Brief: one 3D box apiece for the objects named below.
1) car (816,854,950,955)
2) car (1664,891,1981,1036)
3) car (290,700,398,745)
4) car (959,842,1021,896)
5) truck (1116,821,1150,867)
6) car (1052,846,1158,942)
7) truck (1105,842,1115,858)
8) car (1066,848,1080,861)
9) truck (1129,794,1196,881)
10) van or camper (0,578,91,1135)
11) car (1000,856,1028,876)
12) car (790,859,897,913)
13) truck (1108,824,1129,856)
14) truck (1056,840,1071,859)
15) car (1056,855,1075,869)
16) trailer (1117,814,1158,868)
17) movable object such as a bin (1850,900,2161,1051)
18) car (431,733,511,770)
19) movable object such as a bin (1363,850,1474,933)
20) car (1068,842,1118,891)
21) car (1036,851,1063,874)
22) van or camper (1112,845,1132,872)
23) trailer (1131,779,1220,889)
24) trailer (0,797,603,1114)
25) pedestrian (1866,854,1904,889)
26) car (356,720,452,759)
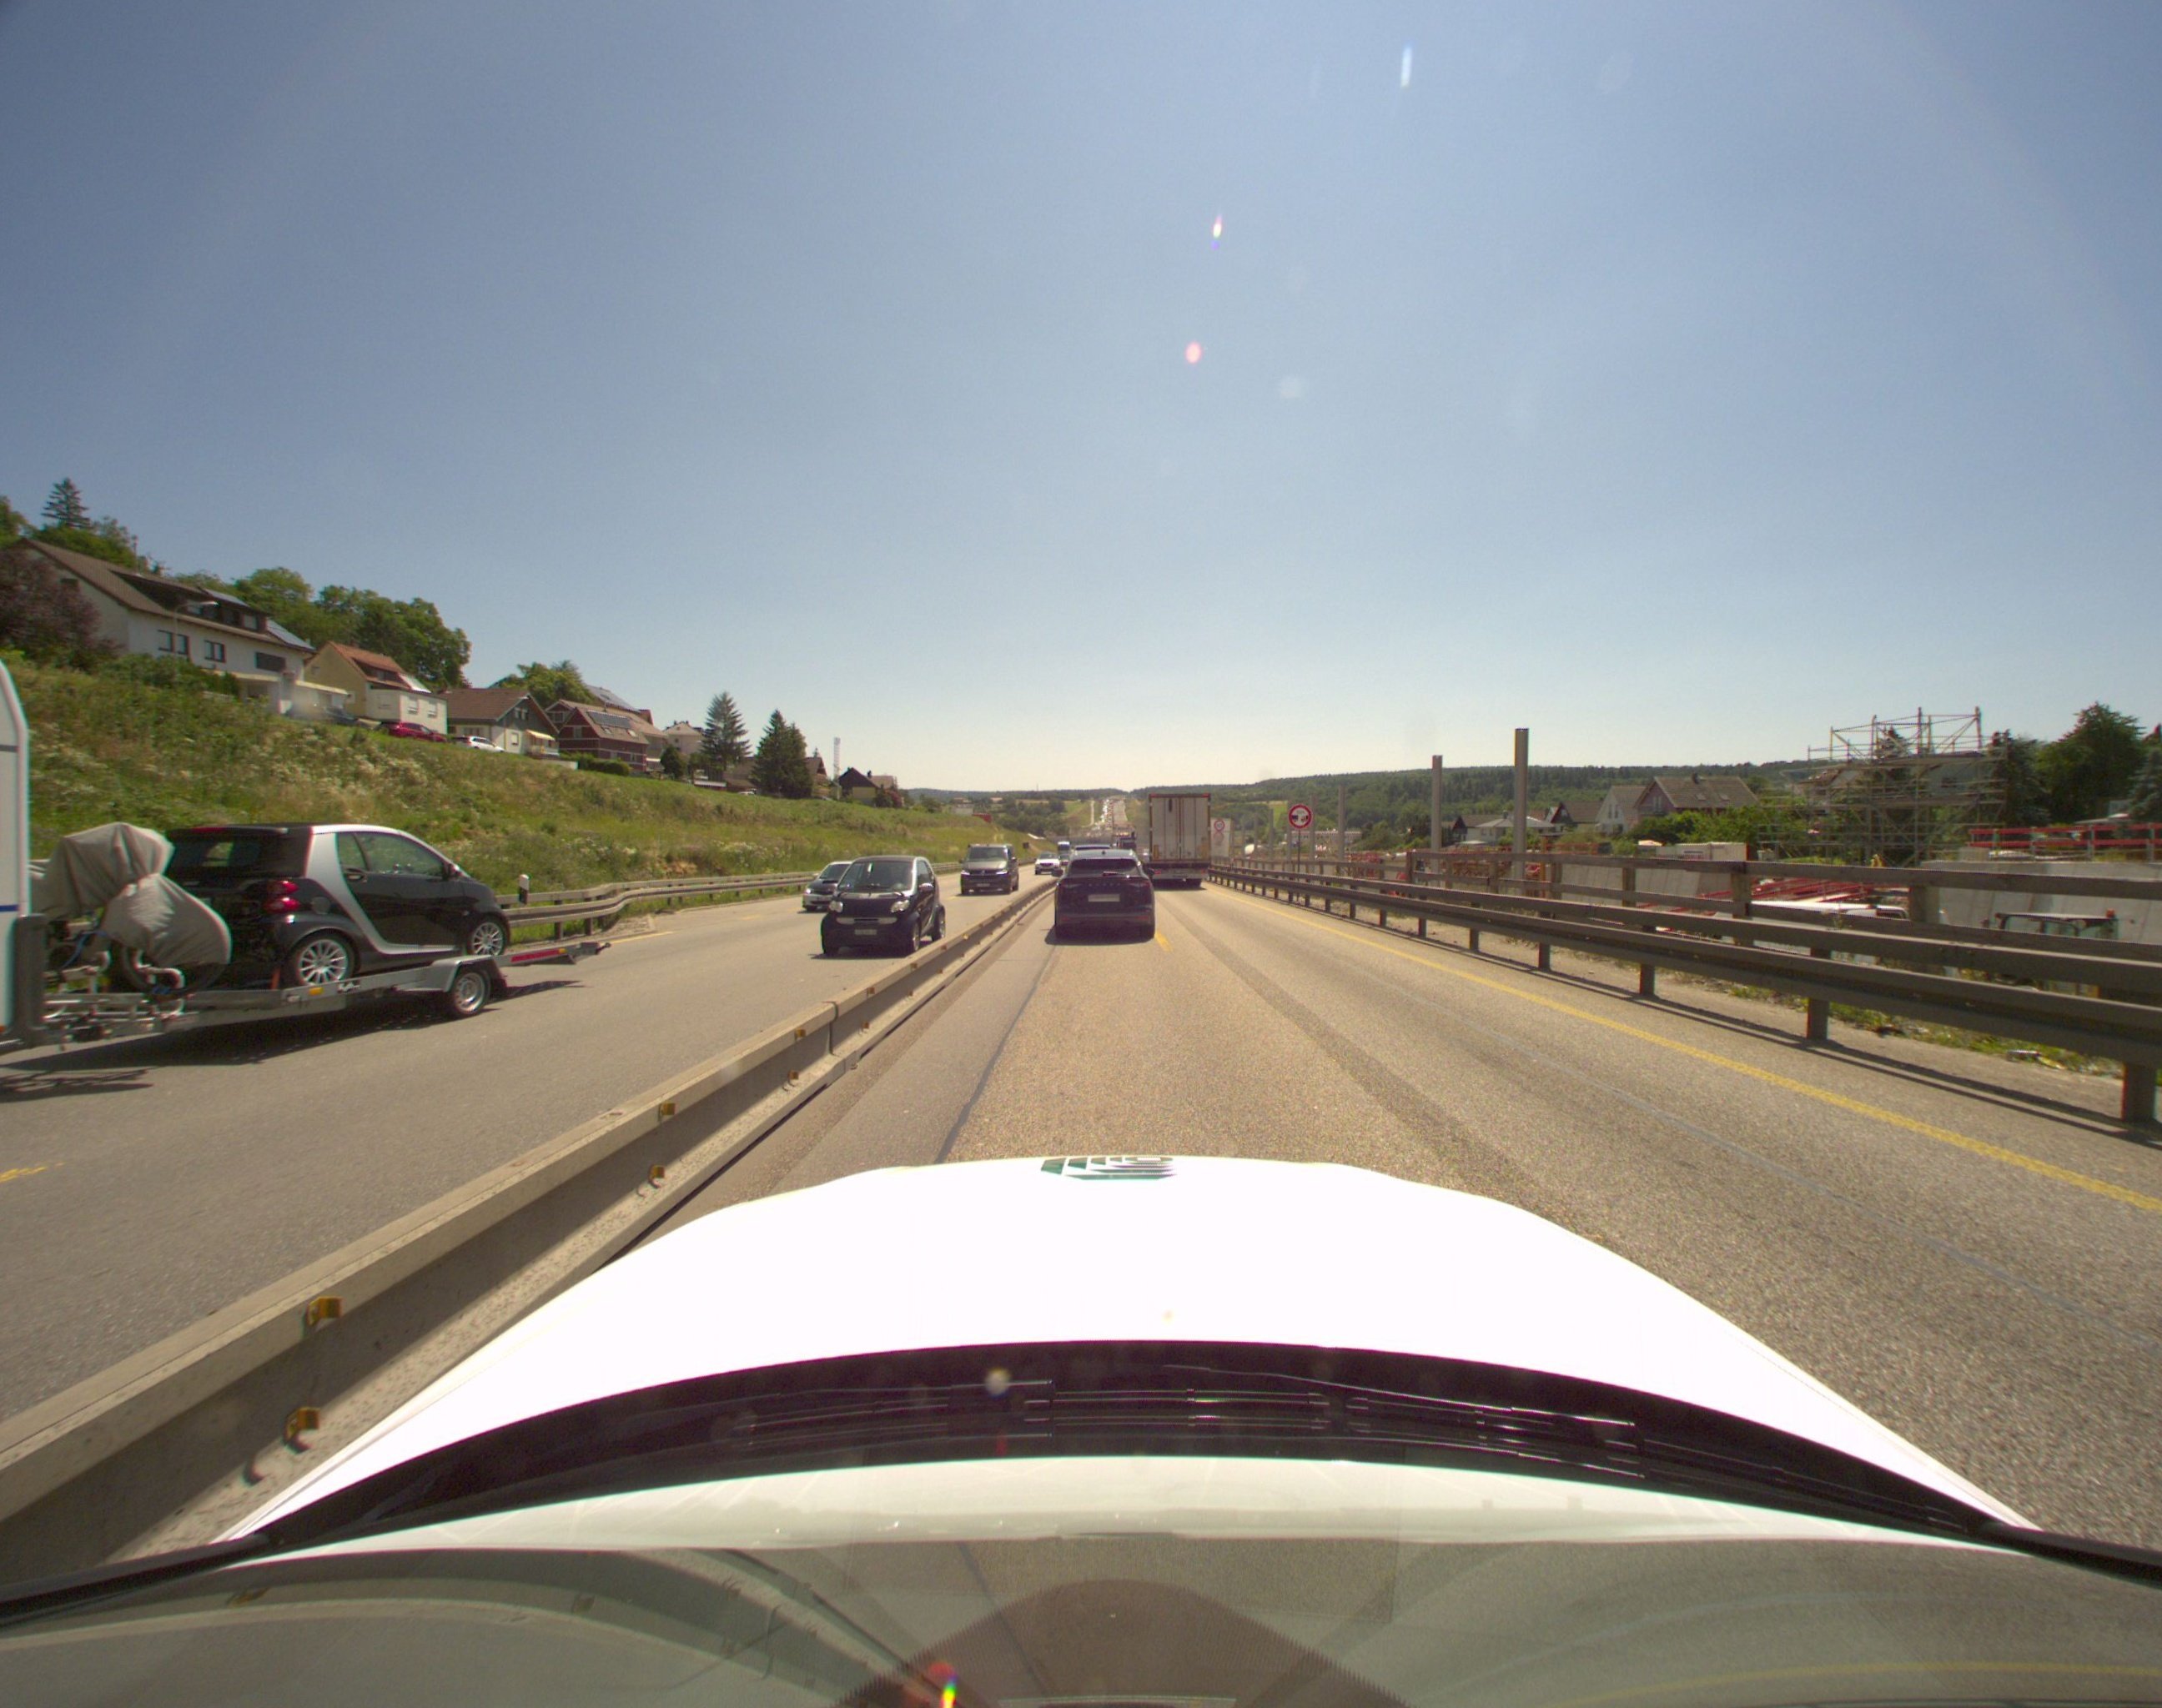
[{"bbox_3d":[-3.211,0.761,13.661,1.478,1.505,2.806,-1,0,1],"label":"car"},{"bbox_3d":[18.228,2.492,20.795,2.134,2.856,7.032,-1,-1,5],"label":"car"},{"bbox_3d":[-42.939,-7.634,47.628,2.175,1.794,4.754,-1,-1,-5],"label":"car"},{"bbox_3d":[-3.571,0.563,32.873,1.904,2.013,4.905,-1,0,0],"label":"car"},{"bbox_3d":[5.353,-0.925,84.601,3.169,4.513,8.167,-1,-1,1],"label":"truck"},{"bbox_3d":[0.481,0.696,15.896,1.795,1.607,4.002,-1,-1,2],"label":"car"},{"bbox_3d":[8.233,-1.054,229.988,2.630,4.194,9.286,-1,-1,2],"label":"truck"},{"bbox_3d":[-1.199,0.117,119.249,1.839,1.777,4.883,-1,0,1],"label":"car"},{"bbox_3d":[4.502,-0.898,46.842,3.169,4.513,8.168,-1,0,1],"label":"truck"},{"bbox_3d":[-7.170,0.025,1.428,2.283,3.066,6.926,-1,0,1],"label":"van or camper"},{"bbox_3d":[-5.269,0.936,64.493,1.798,1.497,4.599,-1,0,0],"label":"car"},{"bbox_3d":[-7.011,0.885,24.551,1.803,1.431,4.557,0,0,1],"label":"car"},{"bbox_3d":[5.822,-2.110,127.792,2.842,4.465,11.918,-1,-1,1],"label":"truck"},{"bbox_3d":[-3.419,-0.880,161.727,2.769,3.672,6.278,-1,0,1],"label":"truck"},{"bbox_3d":[-1.672,0.905,89.614,1.791,1.466,4.356,-2,0,1],"label":"car"},{"bbox_3d":[5.173,-1.005,77.457,3.169,4.513,14.969,-1,-1,1],"label":"trailer"},{"bbox_3d":[20.932,2.498,18.456,2.134,2.676,5.508,-1,-1,6],"label":"movable object such as a bin"},{"bbox_3d":[-44.865,-7.530,60.096,2.341,2.041,4.814,-1,-1,-2],"label":"car"},{"bbox_3d":[21.243,2.265,52.081,3.216,4.743,9.656,-1,-1,1],"label":"movable object such as a bin"},{"bbox_3d":[0.533,0.547,35.026,1.986,1.926,4.508,-1,-1,1],"label":"car"},{"bbox_3d":[-2.321,0.653,61.350,1.800,1.640,4.172,-1,0,1],"label":"car"},{"bbox_3d":[5.190,0.620,103.075,2.378,3.281,6.474,-1,-1,3],"label":"van or camper"},{"bbox_3d":[4.327,-0.872,40.381,3.169,4.513,13.112,-1,0,1],"label":"trailer"},{"bbox_3d":[-7.001,0.619,7.460,2.094,1.894,5.142,-1,0,1],"label":"trailer"},{"bbox_3d":[46.276,1.011,46.893,1.132,1.987,0.974,-1,-1,5],"label":"pedestrian"},{"bbox_3d":[-44.590,-7.491,53.805,2.341,1.794,4.797,-1,-1,-2],"label":"car"}]
